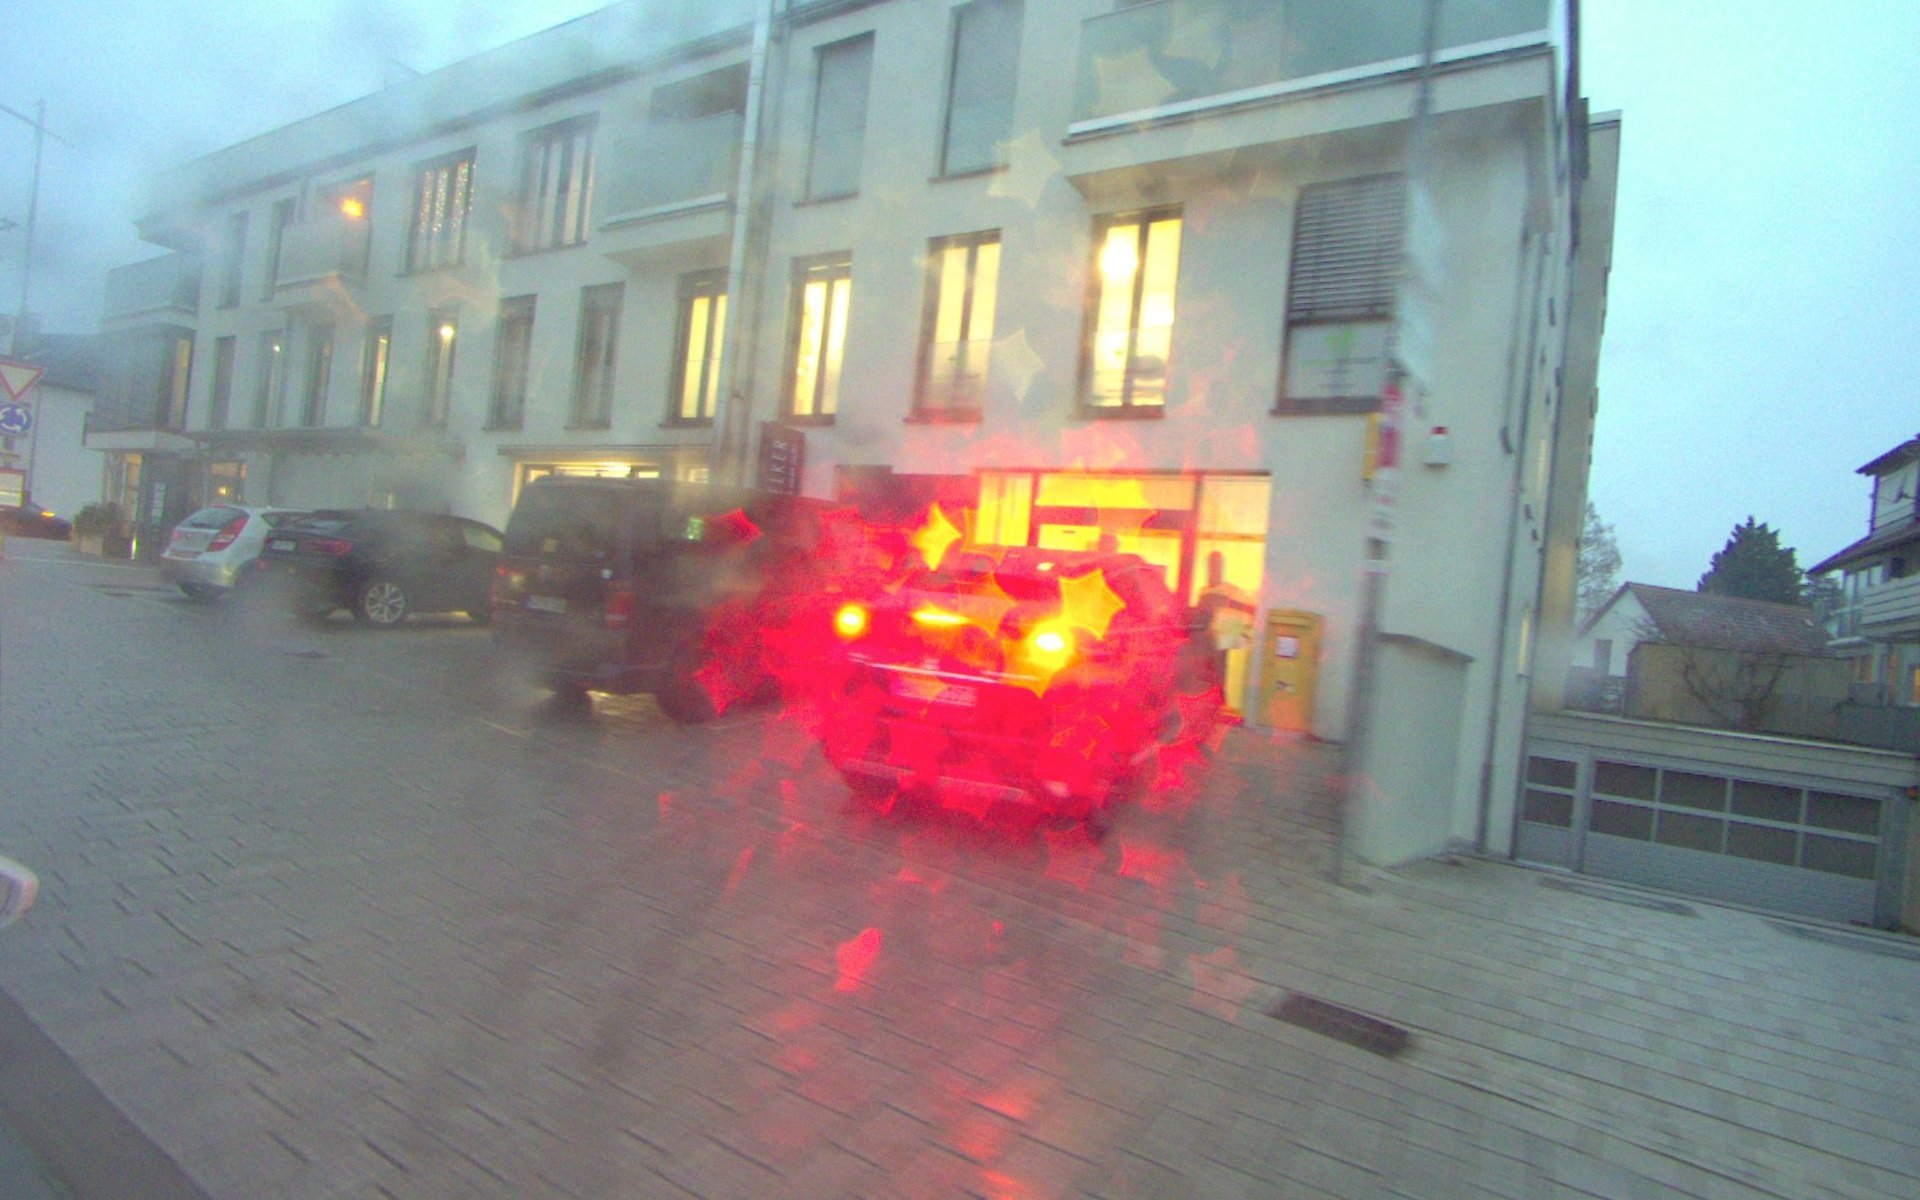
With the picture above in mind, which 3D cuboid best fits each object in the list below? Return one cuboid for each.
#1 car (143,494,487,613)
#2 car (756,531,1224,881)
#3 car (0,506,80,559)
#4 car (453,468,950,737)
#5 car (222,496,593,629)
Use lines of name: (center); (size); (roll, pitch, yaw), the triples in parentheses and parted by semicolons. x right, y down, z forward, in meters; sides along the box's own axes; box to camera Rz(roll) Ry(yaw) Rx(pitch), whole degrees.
car: (-9.922, -0.646, 15.857); (1.762, 1.479, 4.210); (6, 2, 27)
car: (0.545, 0.426, 7.349); (1.772, 1.663, 4.175); (7, 6, 25)
car: (-33.441, -2.495, 34.795); (1.962, 1.495, 4.009); (6, -4, 11)
car: (-2.173, -0.073, 9.756); (1.918, 1.948, 4.559); (6, 4, 32)
car: (-7.447, -0.423, 14.039); (1.762, 1.479, 4.210); (6, 2, 27)
